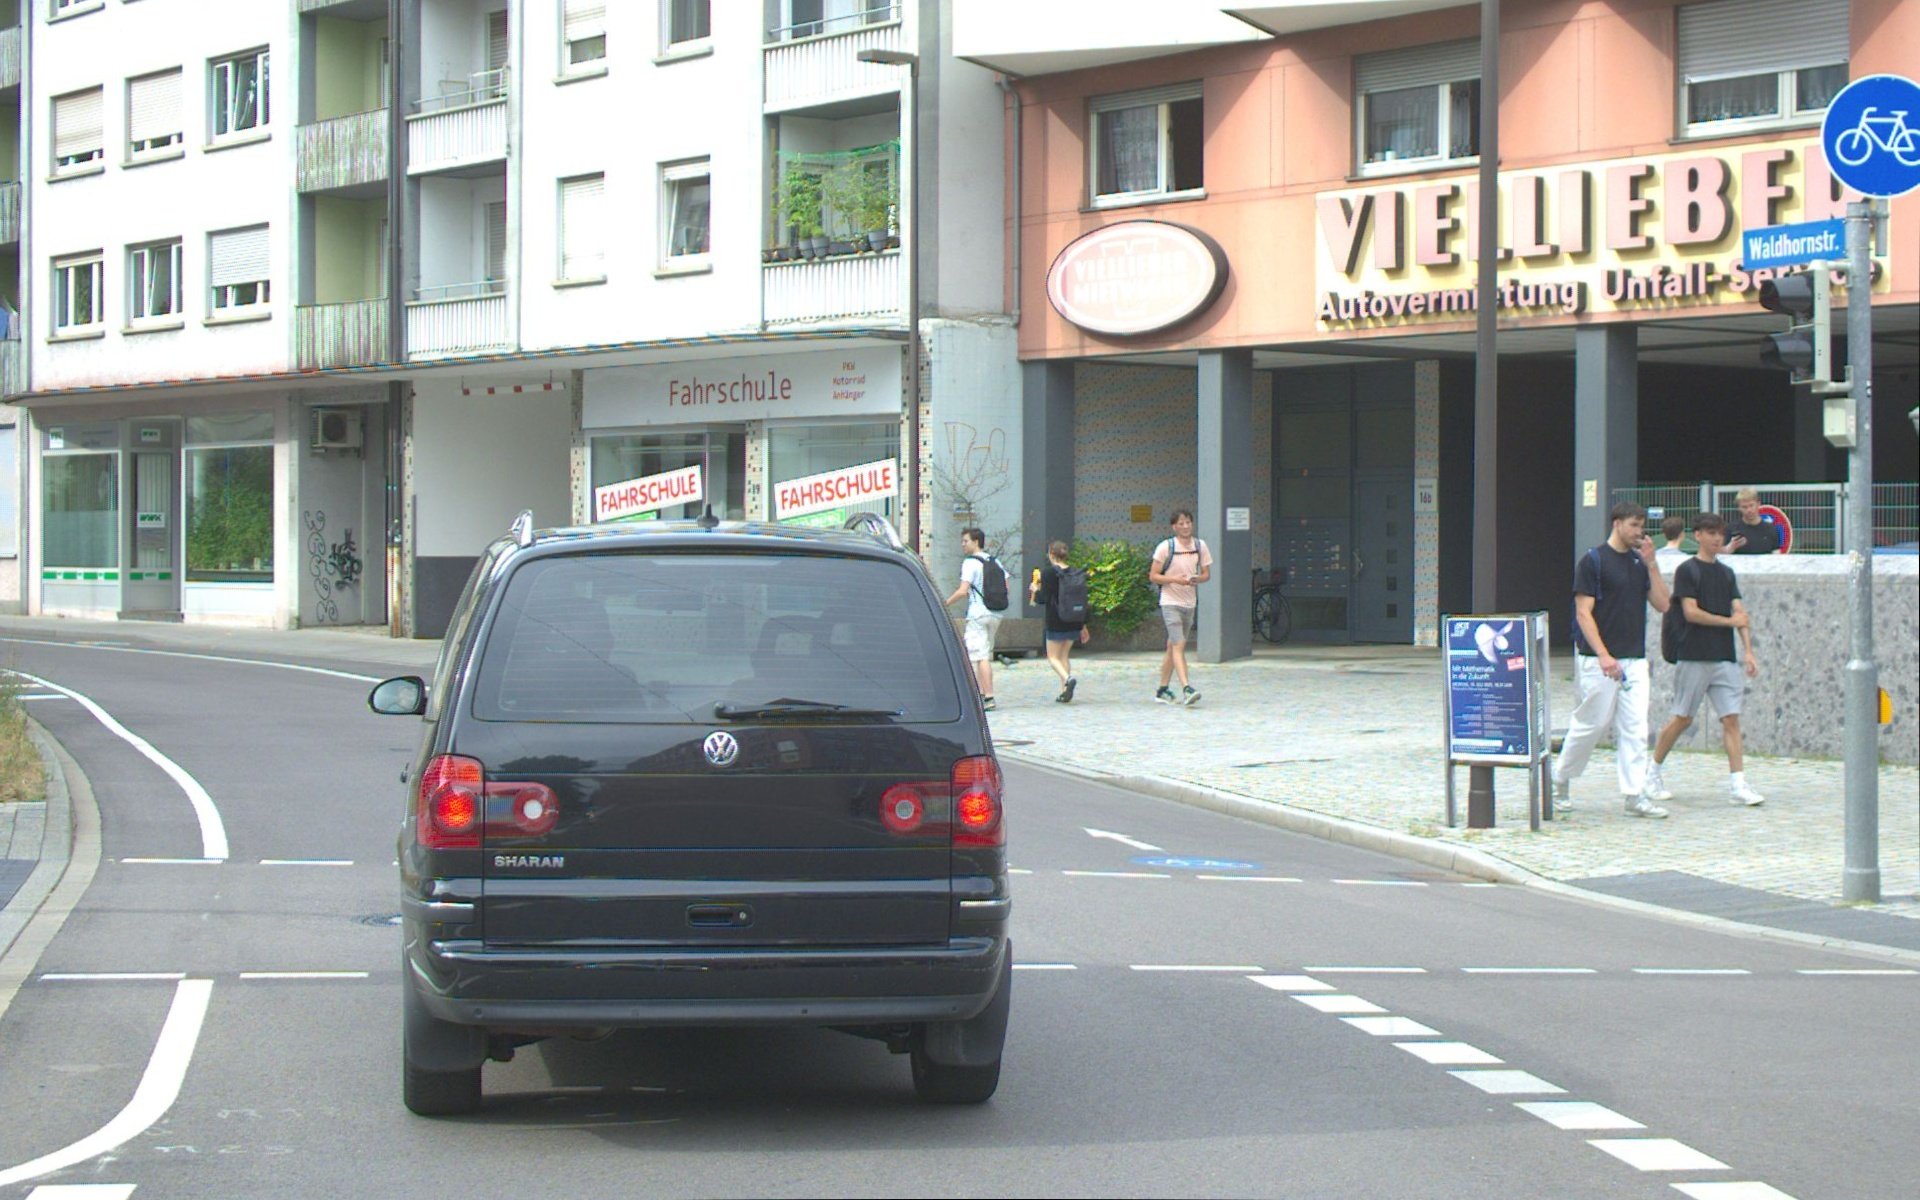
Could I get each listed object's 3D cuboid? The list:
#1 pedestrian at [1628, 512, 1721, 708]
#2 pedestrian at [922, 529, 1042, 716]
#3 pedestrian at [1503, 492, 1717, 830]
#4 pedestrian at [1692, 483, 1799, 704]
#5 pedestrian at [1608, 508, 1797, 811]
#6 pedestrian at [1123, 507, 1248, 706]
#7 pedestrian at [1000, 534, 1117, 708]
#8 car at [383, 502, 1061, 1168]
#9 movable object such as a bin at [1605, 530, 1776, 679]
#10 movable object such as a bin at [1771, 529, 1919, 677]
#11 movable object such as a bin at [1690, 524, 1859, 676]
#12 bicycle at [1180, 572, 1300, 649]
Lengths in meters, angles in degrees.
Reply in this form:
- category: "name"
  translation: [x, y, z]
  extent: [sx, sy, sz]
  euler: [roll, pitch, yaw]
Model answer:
- category: "pedestrian"
  translation: [6.202, 0.075, 29.859]
  extent: [0.472, 1.667, 0.590]
  euler: [-4, 3, -37]
- category: "pedestrian"
  translation: [0.213, 0.203, 33.455]
  extent: [0.751, 1.744, 0.859]
  euler: [-5, 4, -30]
- category: "pedestrian"
  translation: [3.935, 0.343, 20.819]
  extent: [0.719, 1.964, 1.013]
  euler: [-4, 4, -43]
- category: "pedestrian"
  translation: [6.914, -0.067, 30.250]
  extent: [0.672, 1.896, 0.590]
  euler: [-4, 3, -37]
- category: "pedestrian"
  translation: [4.571, 0.343, 21.179]
  extent: [0.675, 1.793, 0.886]
  euler: [-4, 4, -43]
- category: "pedestrian"
  translation: [2.156, 0.052, 32.919]
  extent: [0.656, 1.845, 0.971]
  euler: [-4, 3, -35]
- category: "pedestrian"
  translation: [0.969, 0.196, 33.916]
  extent: [0.604, 1.662, 0.943]
  euler: [-5, 4, -40]
- category: "car"
  translation: [-0.906, 0.586, 11.045]
  extent: [1.812, 1.760, 3.739]
  euler: [0, 1, -9]
- category: "movable object such as a bin"
  translation: [7.300, 0.028, 34.359]
  extent: [1.145, 1.455, 1.223]
  euler: [-1, 2, -39]
- category: "movable object such as a bin"
  translation: [9.247, 0.015, 35.856]
  extent: [1.002, 1.510, 1.167]
  euler: [-1, 1, -39]
- category: "movable object such as a bin"
  translation: [8.306, -0.015, 35.063]
  extent: [1.194, 1.510, 1.197]
  euler: [-1, 2, -39]
- category: "bicycle"
  translation: [3.442, 0.125, 42.385]
  extent: [0.452, 0.893, 1.678]
  euler: [-1, 2, -38]
